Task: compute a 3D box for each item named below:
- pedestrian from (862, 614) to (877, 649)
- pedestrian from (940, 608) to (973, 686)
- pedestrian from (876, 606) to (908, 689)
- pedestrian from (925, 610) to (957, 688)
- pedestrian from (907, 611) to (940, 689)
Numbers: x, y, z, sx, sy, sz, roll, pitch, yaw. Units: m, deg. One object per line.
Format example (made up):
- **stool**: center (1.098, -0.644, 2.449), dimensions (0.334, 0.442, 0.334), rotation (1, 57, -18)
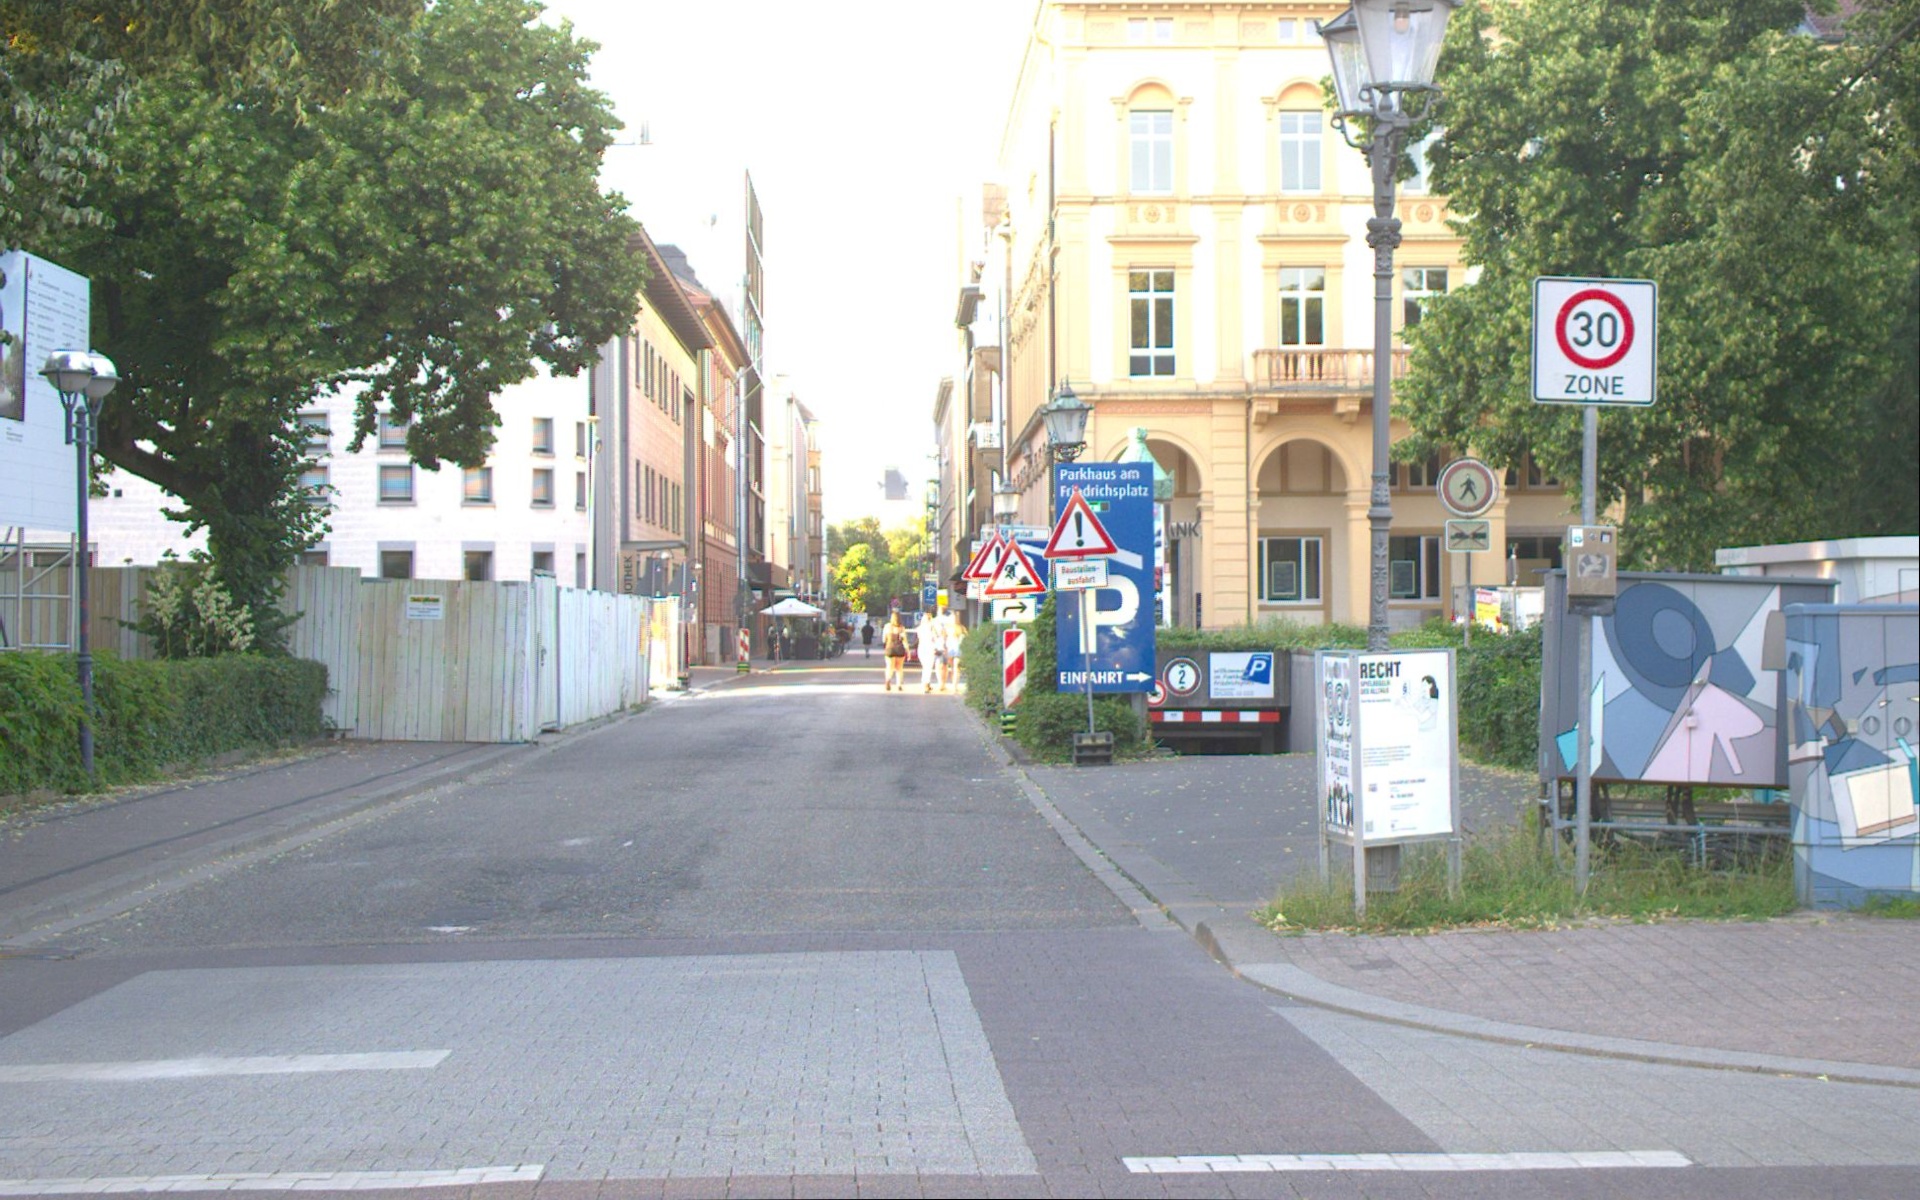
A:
- **pedestrian**: center (-4.724, 1.633, 179.085), dimensions (0.759, 1.828, 0.745), rotation (-1, 0, -1)
- **pedestrian**: center (-0.080, 0.988, 72.128), dimensions (0.657, 1.611, 0.745), rotation (-1, 0, -1)
- **pedestrian**: center (-1.446, 1.009, 73.312), dimensions (0.657, 1.754, 0.745), rotation (-1, 0, -1)
- **pedestrian**: center (-0.408, 1.036, 73.193), dimensions (0.657, 1.630, 0.745), rotation (-1, 0, -1)
- **pedestrian**: center (-0.771, 1.042, 72.157), dimensions (0.657, 1.611, 0.745), rotation (-1, 0, -1)
